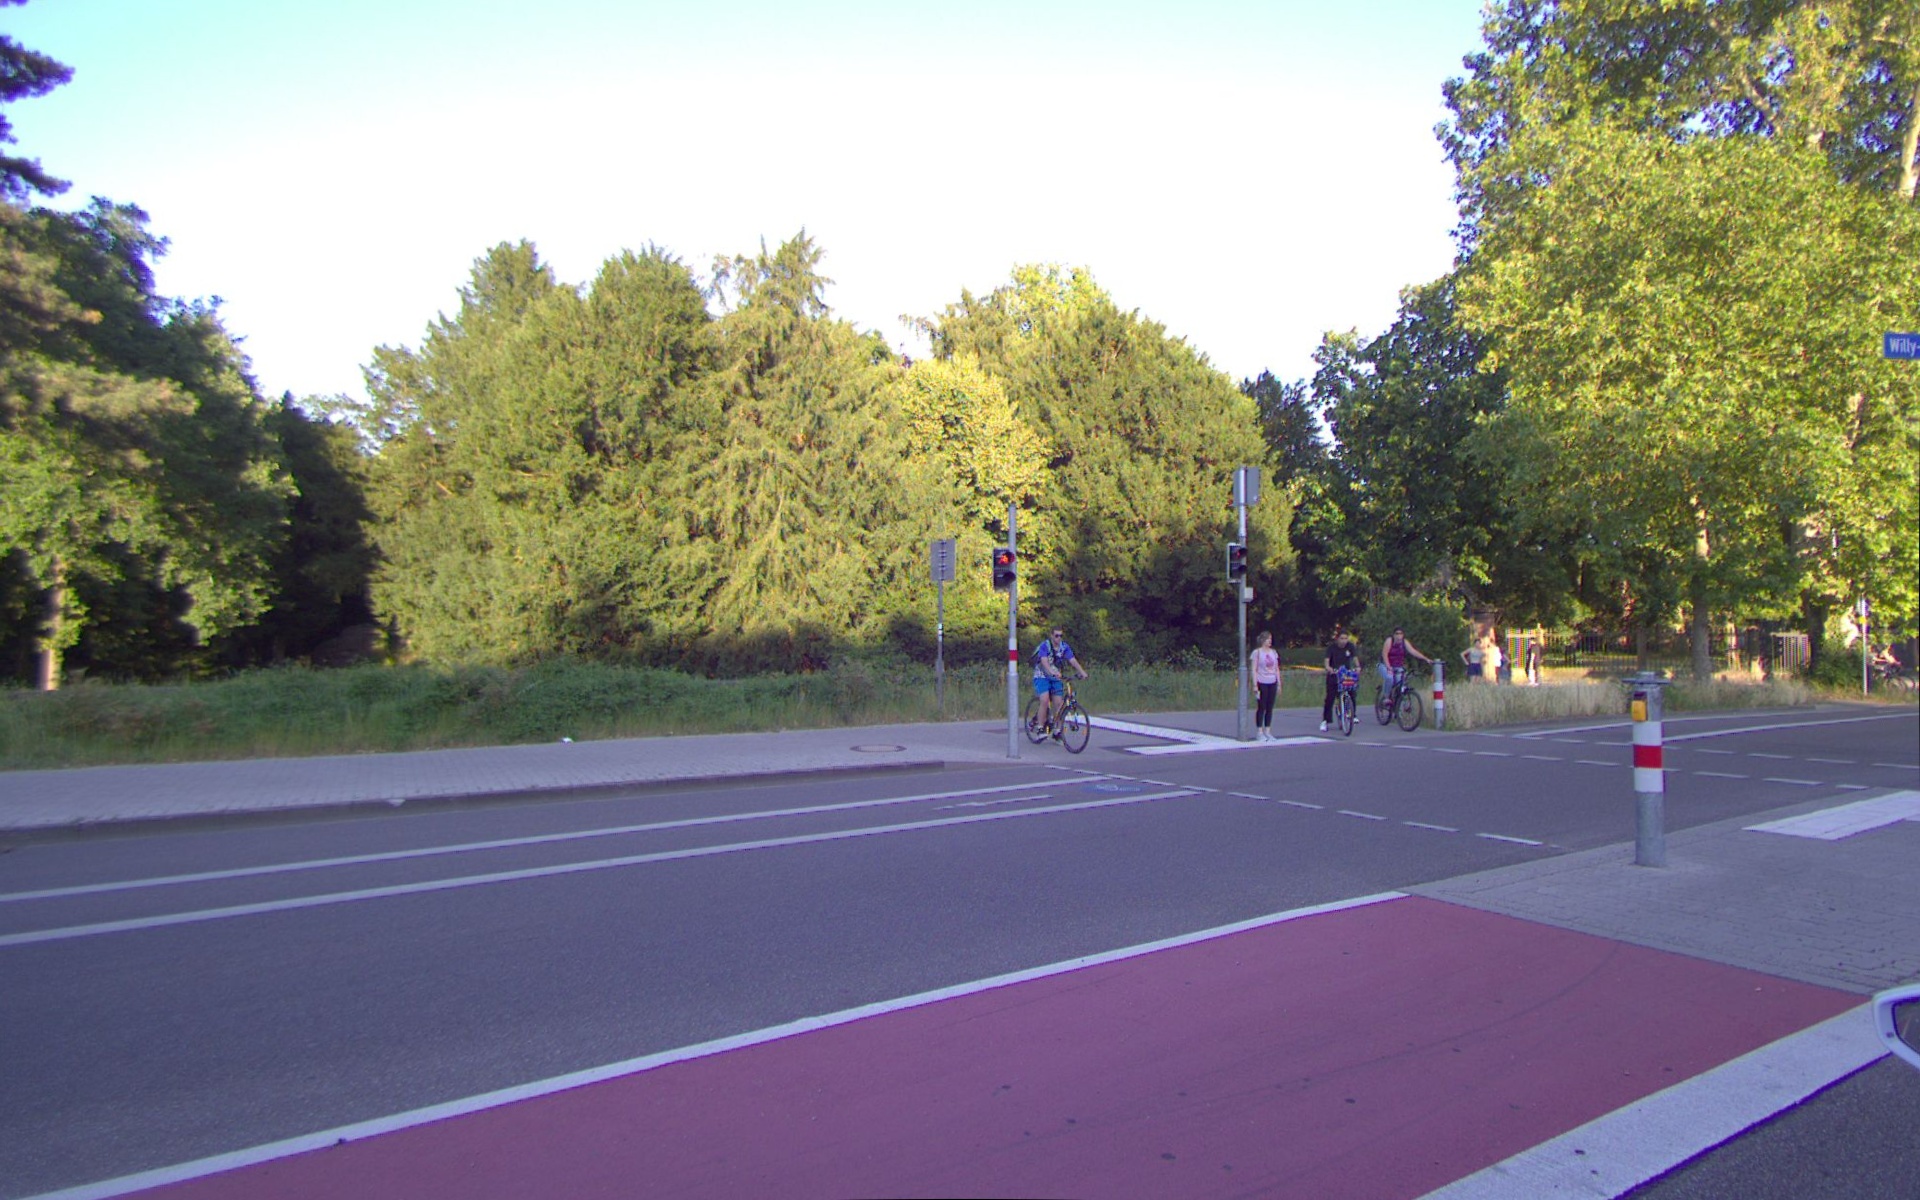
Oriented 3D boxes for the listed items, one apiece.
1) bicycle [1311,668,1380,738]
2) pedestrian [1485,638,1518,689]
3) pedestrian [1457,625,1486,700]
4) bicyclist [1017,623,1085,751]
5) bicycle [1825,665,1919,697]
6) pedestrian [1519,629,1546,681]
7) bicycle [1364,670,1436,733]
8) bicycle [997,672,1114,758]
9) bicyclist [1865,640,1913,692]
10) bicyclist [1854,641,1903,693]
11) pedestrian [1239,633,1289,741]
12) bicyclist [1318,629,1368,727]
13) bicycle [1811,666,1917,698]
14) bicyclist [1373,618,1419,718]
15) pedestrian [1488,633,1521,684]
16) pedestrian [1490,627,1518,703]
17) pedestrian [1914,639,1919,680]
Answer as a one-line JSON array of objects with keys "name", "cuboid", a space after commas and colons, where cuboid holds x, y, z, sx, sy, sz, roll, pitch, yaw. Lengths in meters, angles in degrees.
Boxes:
[{"name": "bicycle", "cuboid": [6.708, 1.771, 17.532, 0.620, 1.126, 1.569, 0, -2, 1]}, {"name": "pedestrian", "cuboid": [22.089, 2.565, 40.986, 1.064, 2.040, 0.757, 1, -1, -29]}, {"name": "pedestrian", "cuboid": [14.266, 1.732, 28.030, 0.638, 2.040, 0.606, 0, -1, 22]}, {"name": "bicyclist", "cuboid": [1.366, 1.276, 15.121, 0.729, 1.848, 0.705, 1, 0, -33]}, {"name": "bicycle", "cuboid": [30.494, 2.672, 33.457, 0.765, 0.936, 2.420, 1, -2, -29]}, {"name": "pedestrian", "cuboid": [22.370, 2.140, 39.255, 0.692, 2.040, 0.637, 1, -2, -27]}, {"name": "bicycle", "cuboid": [8.043, 1.836, 18.440, 0.568, 1.043, 1.772, 0, -2, 1]}, {"name": "bicycle", "cuboid": [1.389, 1.671, 15.049, 0.762, 1.115, 2.108, 1, -2, -26]}, {"name": "bicyclist", "cuboid": [30.668, 2.165, 33.166, 0.743, 1.652, 0.954, 1, -2, -29]}, {"name": "bicyclist", "cuboid": [29.316, 2.122, 32.055, 0.743, 1.652, 0.954, 1, -2, -29]}, {"name": "pedestrian", "cuboid": [4.949, 1.401, 16.376, 0.492, 1.718, 0.604, 1, -2, -28]}, {"name": "bicyclist", "cuboid": [6.708, 1.356, 17.623, 0.618, 1.671, 0.640, 0, -2, 1]}, {"name": "bicycle", "cuboid": [29.111, 2.629, 32.397, 0.765, 0.936, 2.420, 1, -2, -29]}, {"name": "bicyclist", "cuboid": [8.049, 1.246, 18.557, 0.564, 1.803, 0.640, 0, -2, 1]}, {"name": "pedestrian", "cuboid": [22.271, 2.395, 41.075, 0.982, 2.040, 0.799, 1, -1, -30]}, {"name": "pedestrian", "cuboid": [14.748, 1.746, 27.239, 0.584, 2.040, 0.642, 0, -1, 20]}, {"name": "pedestrian", "cuboid": [38.408, 2.367, 39.911, 0.583, 1.617, 0.533, 1, -2, -30]}]
